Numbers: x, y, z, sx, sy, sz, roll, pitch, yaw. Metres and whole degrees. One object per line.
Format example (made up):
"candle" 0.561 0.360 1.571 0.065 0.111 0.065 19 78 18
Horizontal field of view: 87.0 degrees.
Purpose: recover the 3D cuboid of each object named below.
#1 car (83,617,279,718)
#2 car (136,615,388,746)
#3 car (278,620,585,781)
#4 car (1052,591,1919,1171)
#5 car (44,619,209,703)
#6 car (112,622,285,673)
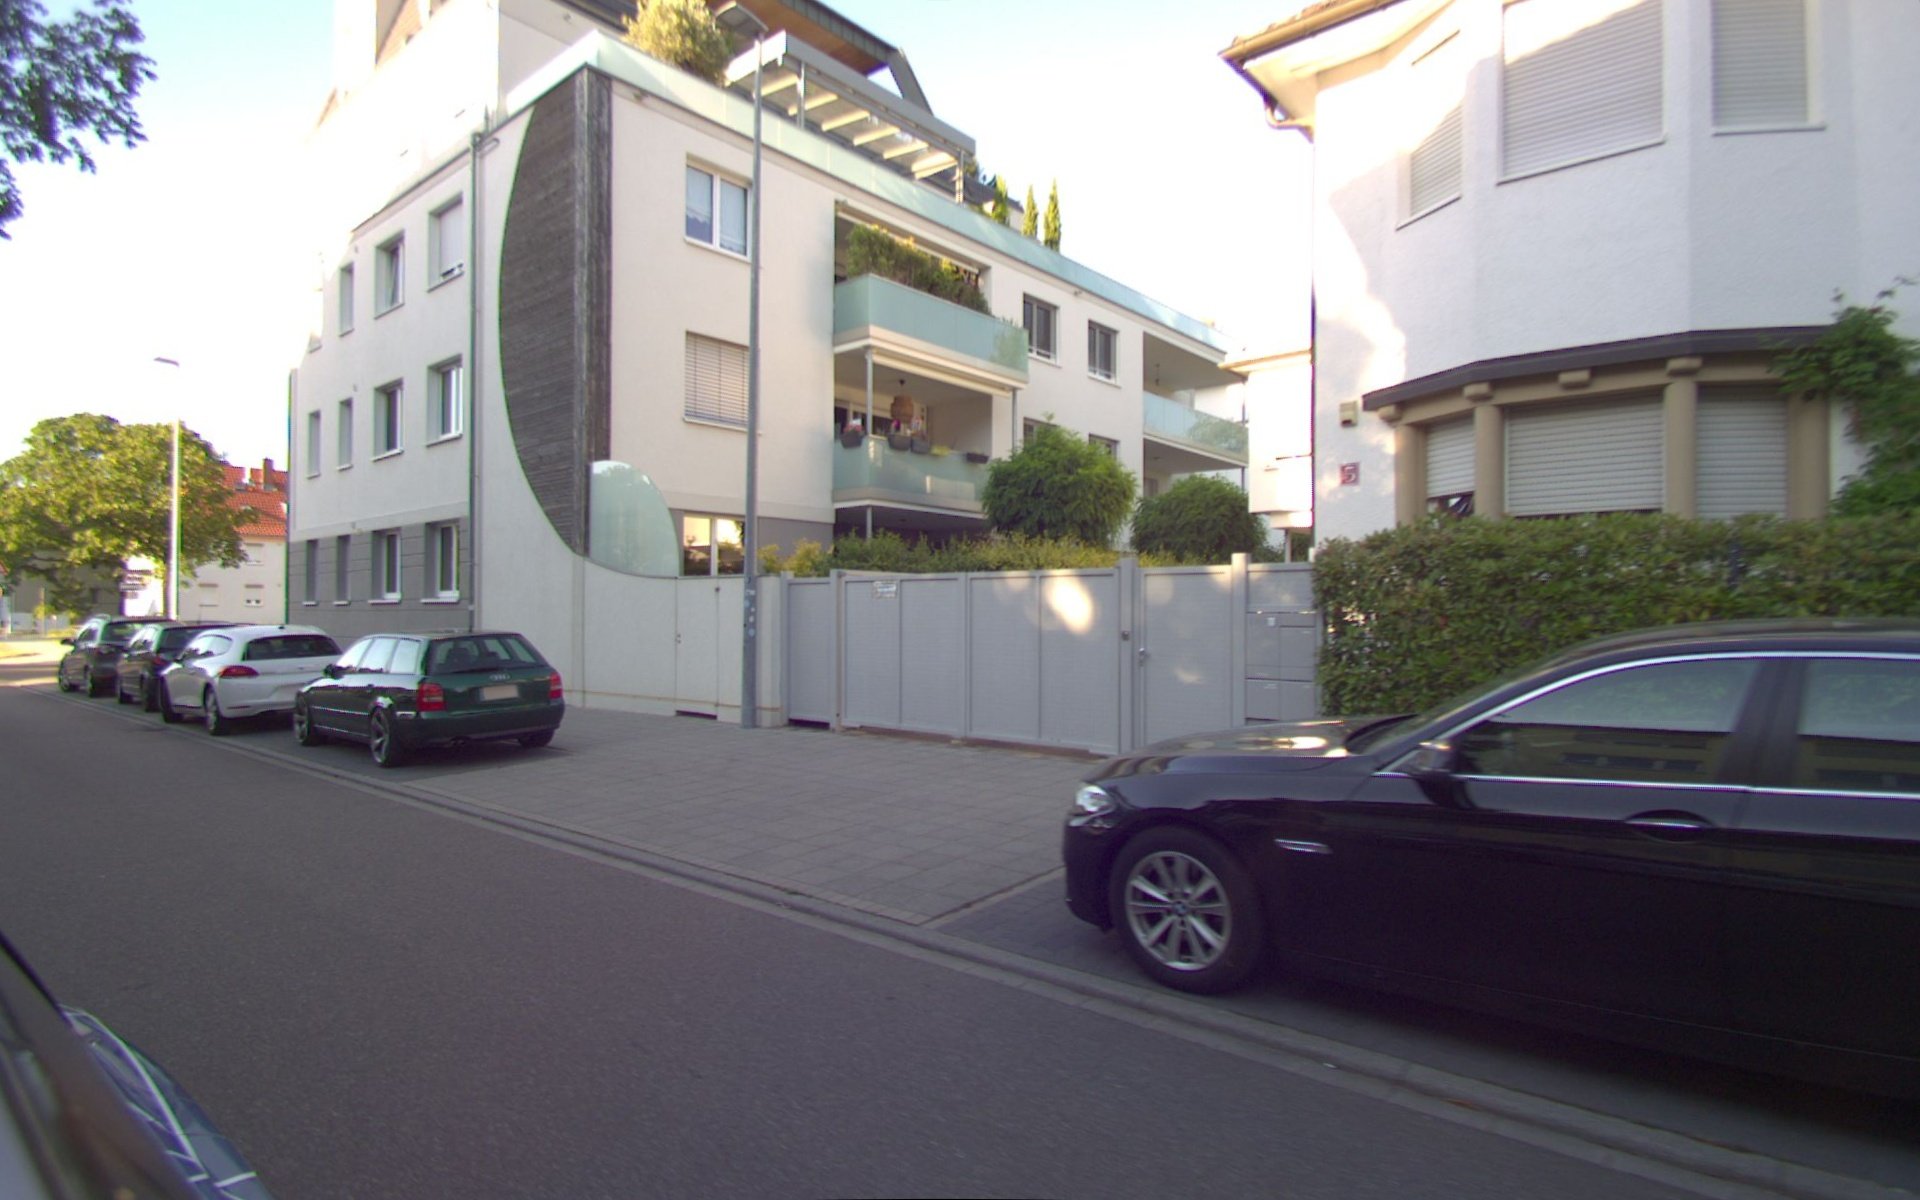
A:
"car" -13.999 1.111 18.120 4.085 1.603 1.866 -1 -1 39
"car" -10.060 1.025 14.489 4.085 1.603 1.866 -1 -1 39
"car" -6.119 0.984 11.513 4.140 1.458 1.739 -1 -1 41
"car" 2.775 0.737 3.592 4.649 1.509 1.836 -1 -1 38
"car" -17.562 1.198 21.273 4.085 1.603 1.866 -1 -1 39
"car" -27.640 1.676 36.883 1.788 1.682 4.773 -1 -1 41
